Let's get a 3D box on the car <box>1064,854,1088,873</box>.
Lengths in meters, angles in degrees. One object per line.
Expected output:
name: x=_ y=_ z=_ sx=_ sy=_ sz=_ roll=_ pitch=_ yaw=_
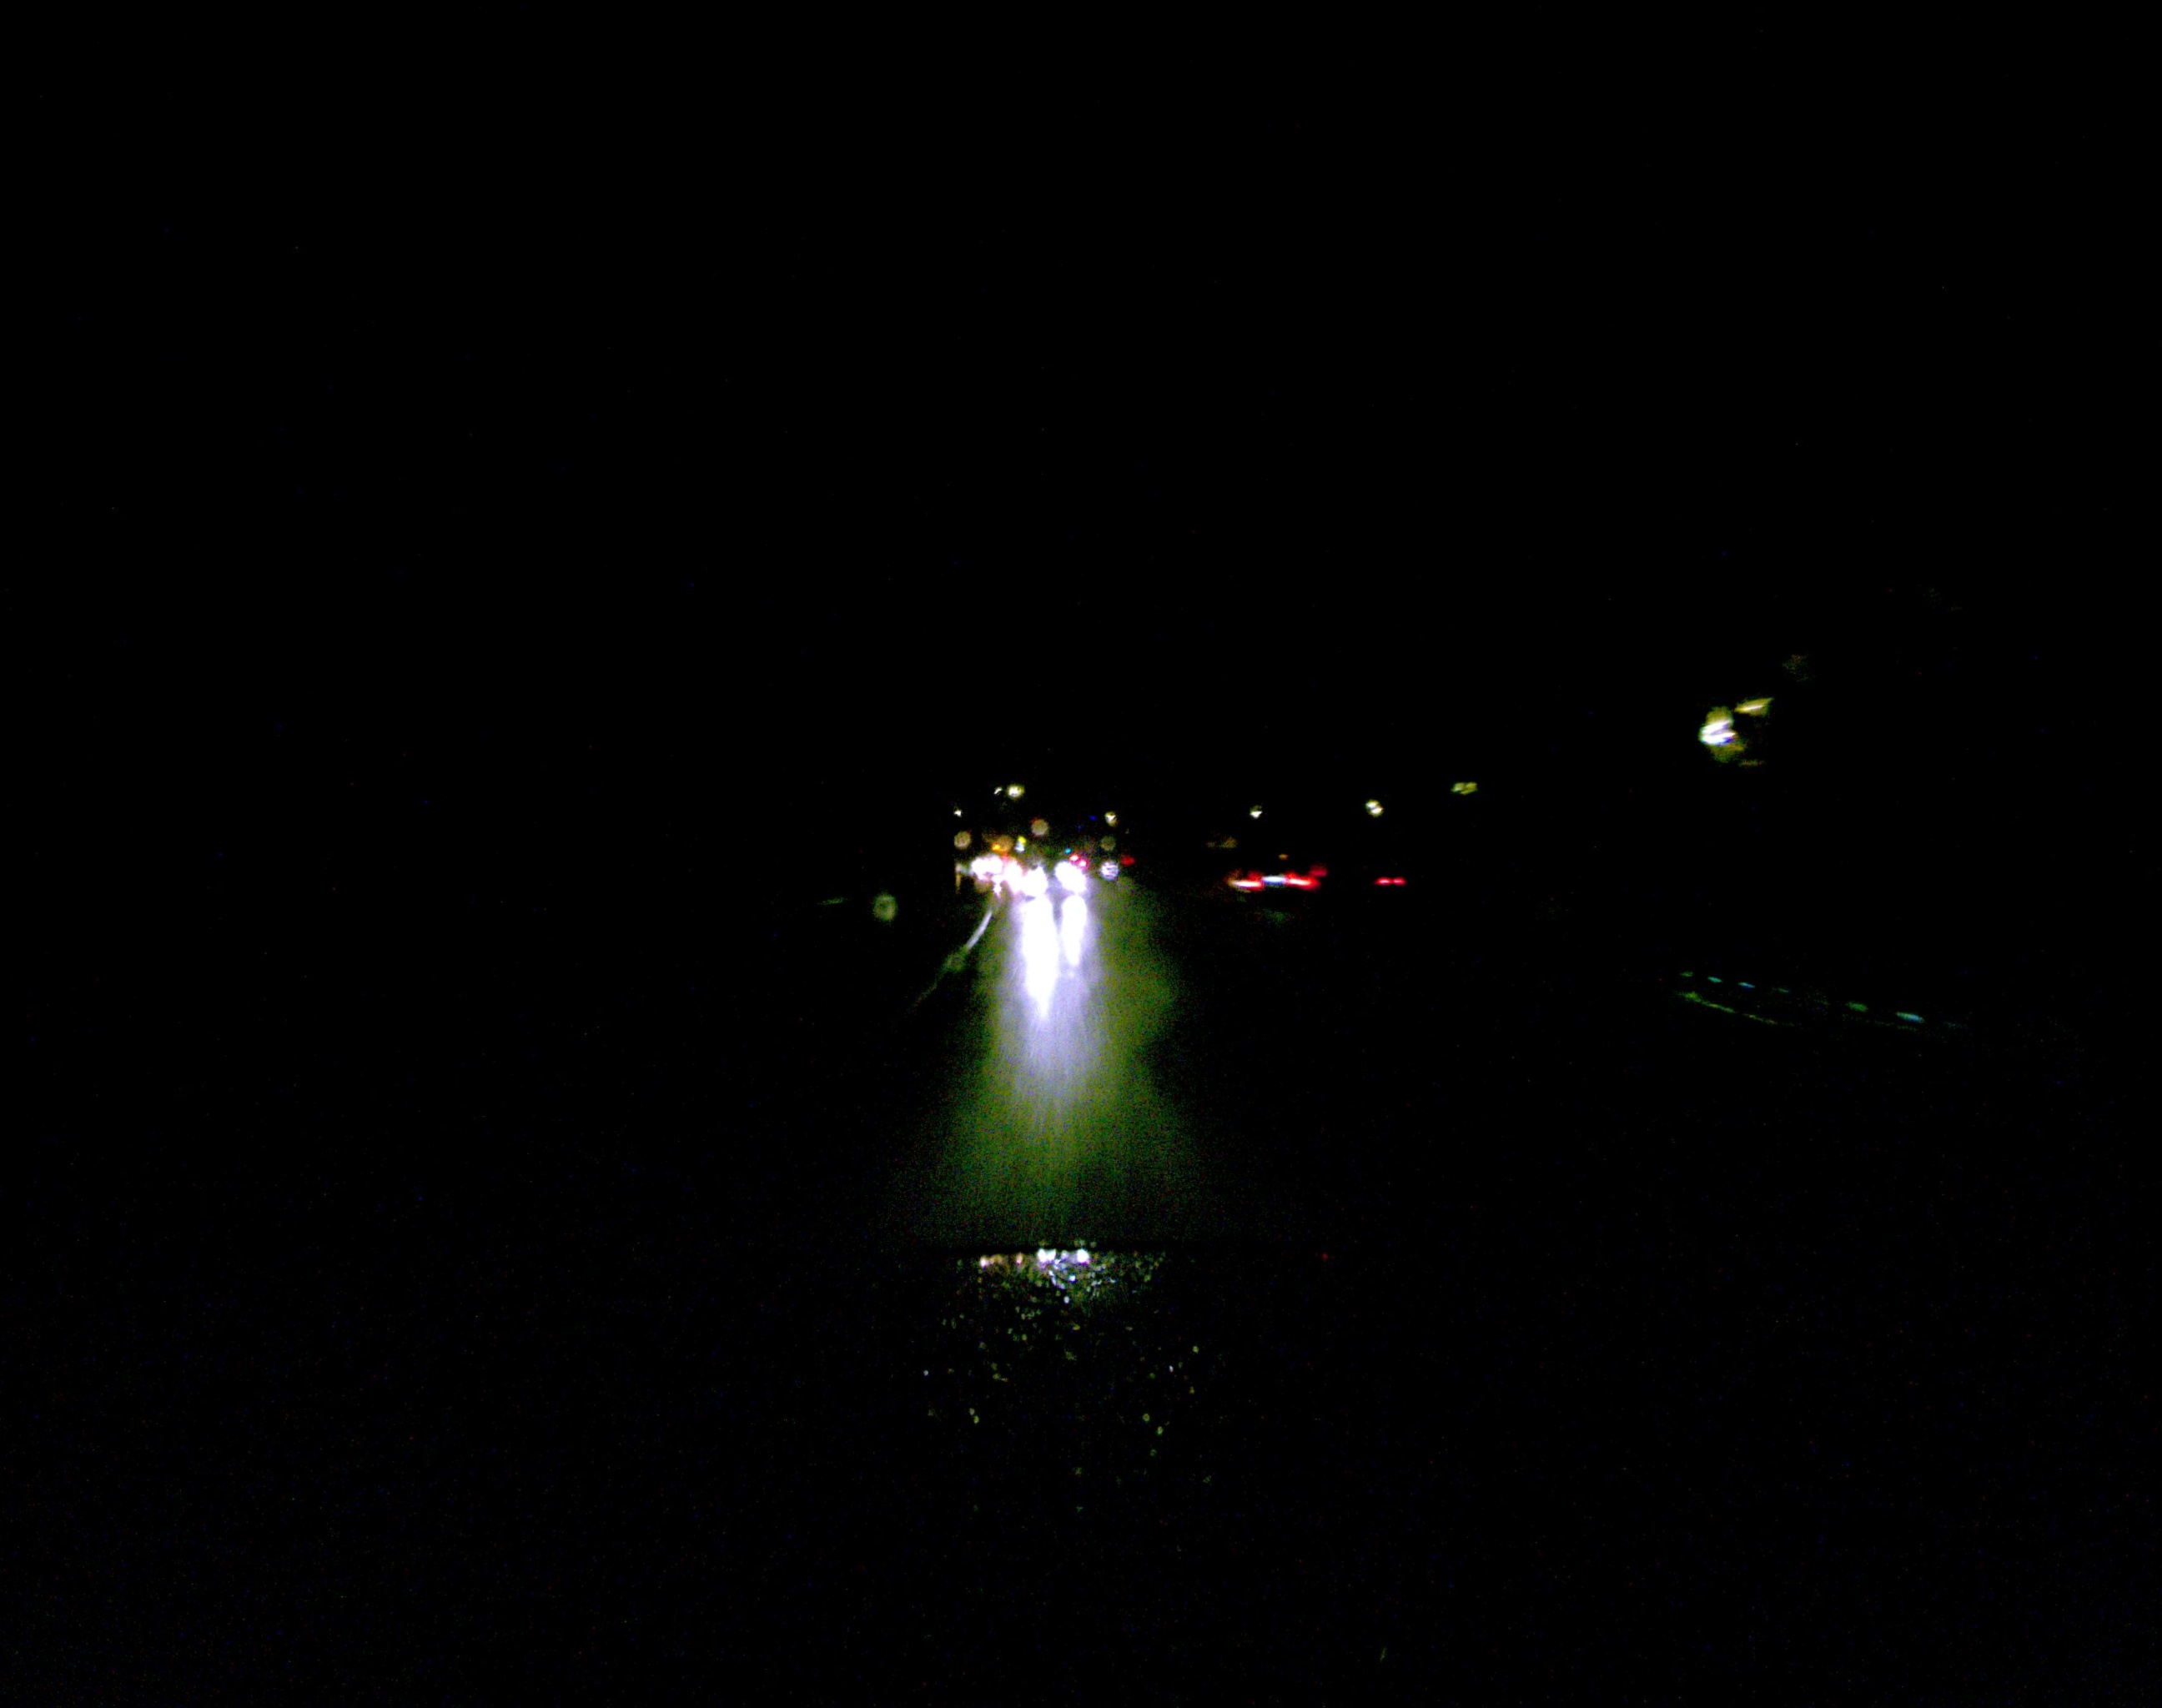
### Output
car: x=-0.466 y=0.801 z=66.618 sx=1.657 sy=1.482 sz=3.857 roll=-2 pitch=1 yaw=-6

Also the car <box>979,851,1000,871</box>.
car: x=-8.659 y=0.655 z=71.569 sx=1.710 sy=1.762 sz=3.996 roll=-2 pitch=1 yaw=-10

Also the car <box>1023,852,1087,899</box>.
car: x=-1.138 y=0.805 z=30.827 sx=2.000 sy=1.585 sz=4.605 roll=-5 pitch=1 yaw=-8

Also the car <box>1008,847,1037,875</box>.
car: x=-4.468 y=0.480 z=58.371 sx=1.899 sy=2.002 sz=3.999 roll=-2 pitch=1 yaw=-1

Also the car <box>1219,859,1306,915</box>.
car: x=5.011 y=0.858 z=21.473 sx=1.638 sy=1.346 sz=4.143 roll=-1 pitch=0 yaw=3

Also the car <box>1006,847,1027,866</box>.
car: x=-7.018 y=0.257 z=83.094 sx=1.999 sy=2.002 sz=3.999 roll=-2 pitch=1 yaw=-2
